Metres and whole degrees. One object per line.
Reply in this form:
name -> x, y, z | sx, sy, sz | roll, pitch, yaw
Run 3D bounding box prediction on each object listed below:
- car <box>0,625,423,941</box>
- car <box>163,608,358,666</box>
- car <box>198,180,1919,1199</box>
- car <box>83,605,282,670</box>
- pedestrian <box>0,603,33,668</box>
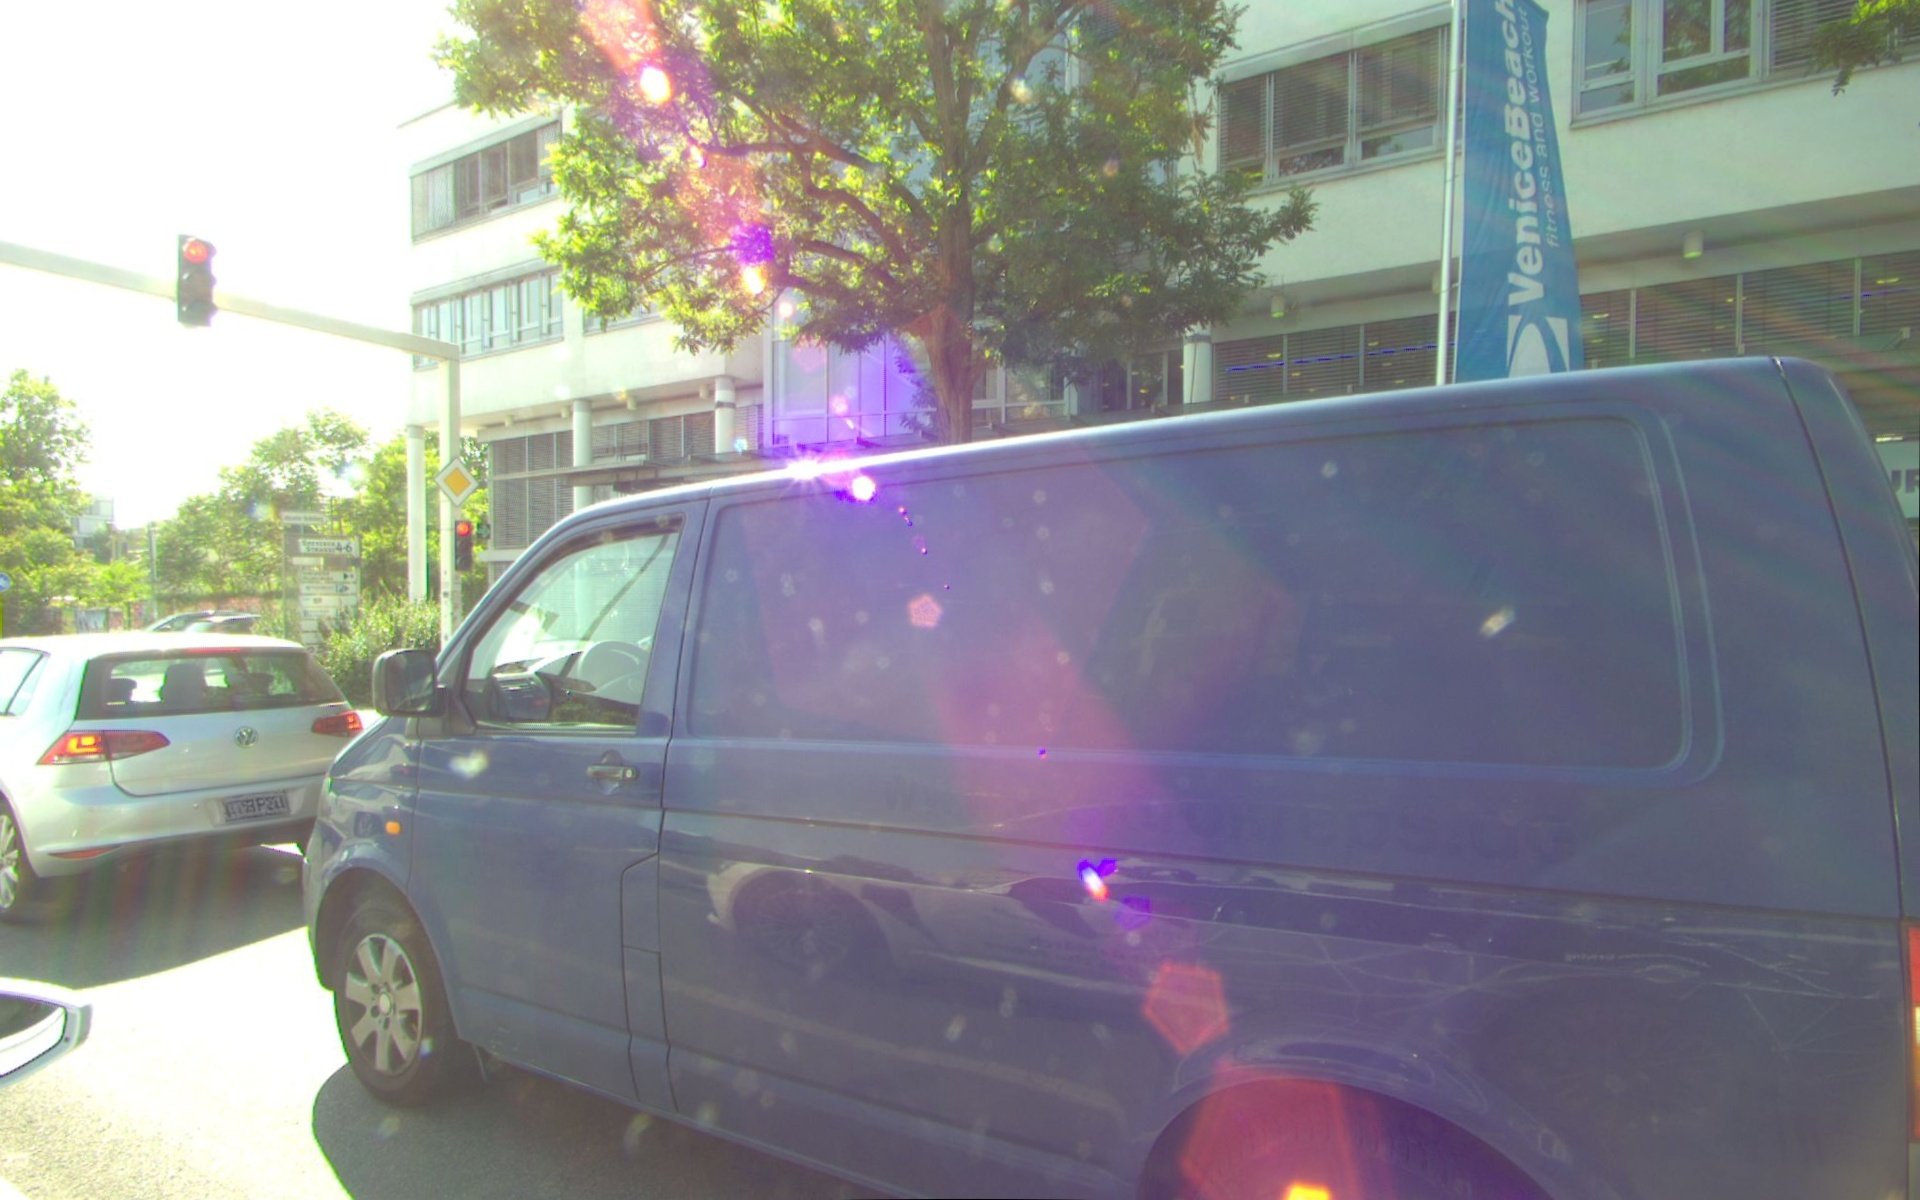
car -> -5.503, 0.920, 6.473 | 3.941, 1.448, 1.804 | -1, -1, 31
car -> -19.217, 0.971, 27.698 | 1.967, 1.461, 3.987 | -1, 0, 24
car -> -0.232, 0.542, 3.245 | 4.821, 1.973, 1.989 | -1, -1, 32
car -> -23.112, 1.056, 29.883 | 1.978, 1.572, 4.392 | -1, 2, 43
pedestrian -> -30.248, 1.113, 31.753 | 1.023, 2.040, 1.025 | 0, 0, 32
